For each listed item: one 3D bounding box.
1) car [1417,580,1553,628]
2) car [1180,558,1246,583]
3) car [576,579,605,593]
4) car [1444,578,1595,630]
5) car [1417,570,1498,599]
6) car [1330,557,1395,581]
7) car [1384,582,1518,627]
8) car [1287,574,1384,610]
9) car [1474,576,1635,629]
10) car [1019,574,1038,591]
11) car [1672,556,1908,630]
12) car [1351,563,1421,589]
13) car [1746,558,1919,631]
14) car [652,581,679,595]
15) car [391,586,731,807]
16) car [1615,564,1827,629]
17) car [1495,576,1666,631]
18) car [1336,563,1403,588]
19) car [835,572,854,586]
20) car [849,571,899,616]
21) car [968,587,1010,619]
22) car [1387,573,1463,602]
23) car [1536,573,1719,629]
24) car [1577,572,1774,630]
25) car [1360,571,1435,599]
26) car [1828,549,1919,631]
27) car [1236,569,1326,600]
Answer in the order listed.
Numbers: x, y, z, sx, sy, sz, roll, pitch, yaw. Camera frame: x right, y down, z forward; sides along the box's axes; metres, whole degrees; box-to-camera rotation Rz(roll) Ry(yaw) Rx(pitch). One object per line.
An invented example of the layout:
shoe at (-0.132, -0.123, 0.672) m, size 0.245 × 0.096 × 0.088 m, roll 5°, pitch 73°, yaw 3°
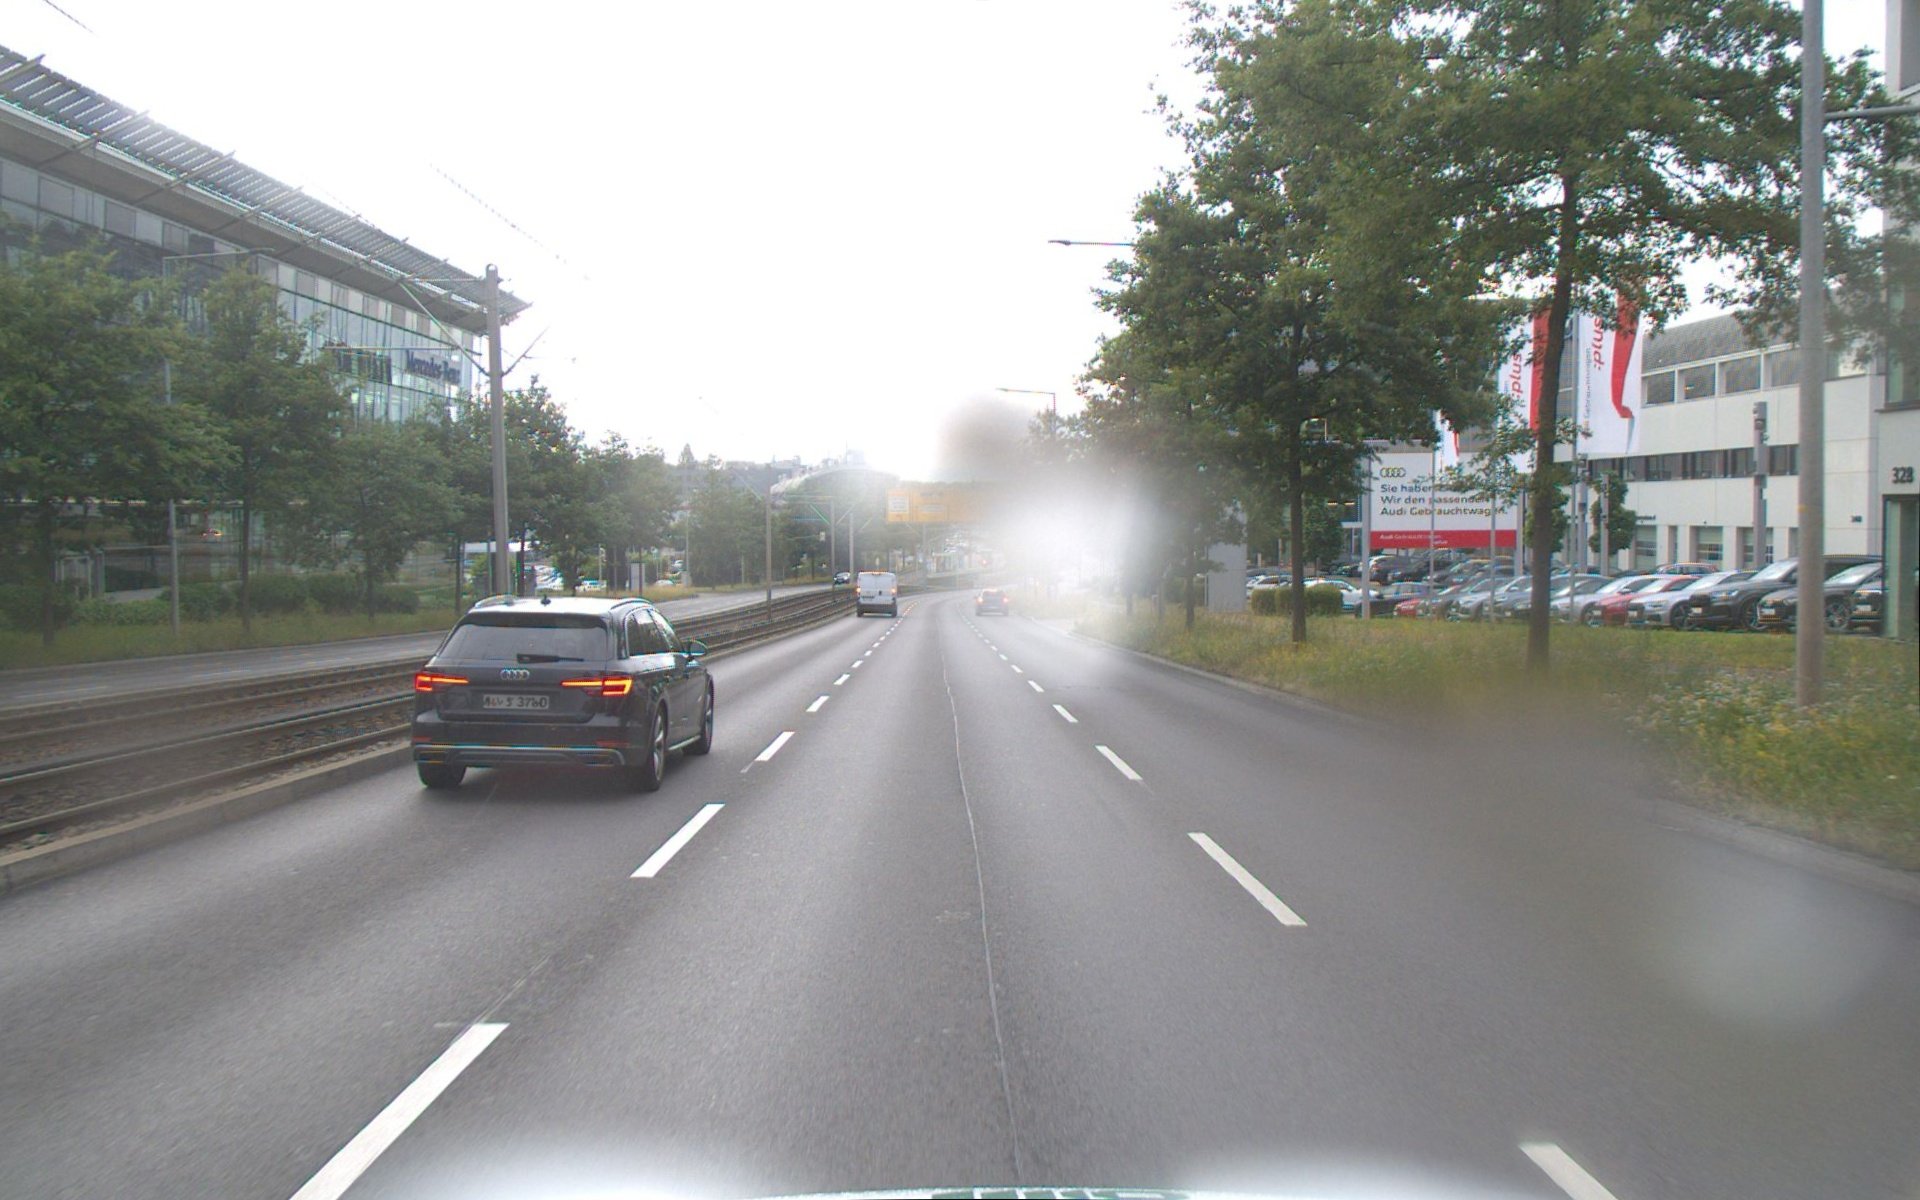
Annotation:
car at (18.419, 0.137, 58.108) m, size 4.191 × 1.621 × 1.825 m, roll -1°, pitch 0°, yaw -4°
car at (17.272, -2.016, 113.078) m, size 4.173 × 1.601 × 1.692 m, roll 1°, pitch 1°, yaw -2°
car at (-41.906, -1.560, 187.630) m, size 1.974 × 1.536 × 3.956 m, roll 2°, pitch 0°, yaw -32°
car at (18.681, 0.134, 55.334) m, size 4.371 × 1.578 × 1.930 m, roll -1°, pitch 0°, yaw -2°
car at (27.933, -0.865, 92.884) m, size 4.023 × 1.601 × 1.692 m, roll 0°, pitch 0°, yaw -2°
car at (27.582, -2.121, 113.537) m, size 4.023 × 1.601 × 1.692 m, roll 1°, pitch 1°, yaw -2°
car at (18.157, 0.159, 61.265) m, size 4.375 × 1.578 × 1.928 m, roll -1°, pitch 0°, yaw -6°
car at (17.656, -0.377, 77.806) m, size 4.030 × 1.622 × 1.944 m, roll 0°, pitch -1°, yaw -10°
car at (18.776, 0.074, 52.355) m, size 4.371 × 1.555 × 1.930 m, roll -1°, pitch 0°, yaw -2°
car at (7.597, -1.964, 183.210) m, size 1.980 × 1.800 × 4.000 m, roll 1°, pitch 1°, yaw 0°
car at (18.698, -0.148, 37.418) m, size 4.308 × 1.527 × 2.040 m, roll -1°, pitch 0°, yaw -1°
car at (27.260, -1.526, 105.922) m, size 4.023 × 1.601 × 1.692 m, roll 1°, pitch 1°, yaw -2°
car at (18.751, -0.124, 34.109) m, size 4.233 × 1.402 × 1.835 m, roll -1°, pitch 0°, yaw -4°
car at (-34.056, -1.391, 191.114) m, size 1.969 × 1.536 × 3.966 m, roll 2°, pitch 0°, yaw -26°
car at (-3.054, 0.643, 13.651) m, size 1.728 × 1.489 × 4.626 m, roll 1°, pitch 0°, yaw -1°
car at (18.553, -0.075, 40.432) m, size 4.308 × 1.452 × 1.890 m, roll -1°, pitch 0°, yaw -1°
car at (18.515, 0.100, 49.479) m, size 4.371 × 1.481 × 1.930 m, roll -2°, pitch 0°, yaw -2°
car at (27.338, -1.632, 110.516) m, size 4.023 × 1.601 × 1.759 m, roll 1°, pitch 1°, yaw -2°
car at (-14.007, -2.527, 200.485) m, size 1.844 × 1.547 × 4.404 m, roll -3°, pitch 1°, yaw 1°
car at (-4.504, -0.316, 86.563) m, size 2.461 × 2.215 × 5.146 m, roll 1°, pitch 0°, yaw -3°
car at (1.561, 0.161, 91.234) m, size 1.981 × 1.651 × 3.997 m, roll 1°, pitch 0°, yaw -3°
car at (27.458, -0.742, 97.694) m, size 4.023 × 1.601 × 1.692 m, roll 0°, pitch 2°, yaw -2°
car at (18.706, 0.033, 46.472) m, size 4.371 × 1.481 × 1.930 m, roll -1°, pitch 0°, yaw -2°
car at (18.705, 0.037, 43.376) m, size 4.309 × 1.372 × 1.930 m, roll -2°, pitch -1°, yaw -2°
car at (26.517, -0.924, 100.346) m, size 4.023 × 1.601 × 1.825 m, roll 1°, pitch 1°, yaw -2°
car at (19.194, -0.190, 31.534) m, size 4.309 × 1.507 × 1.930 m, roll -1°, pitch 0°, yaw -2°
car at (16.979, -0.826, 87.523) m, size 4.429 × 1.622 × 1.692 m, roll 0°, pitch 0°, yaw -2°
